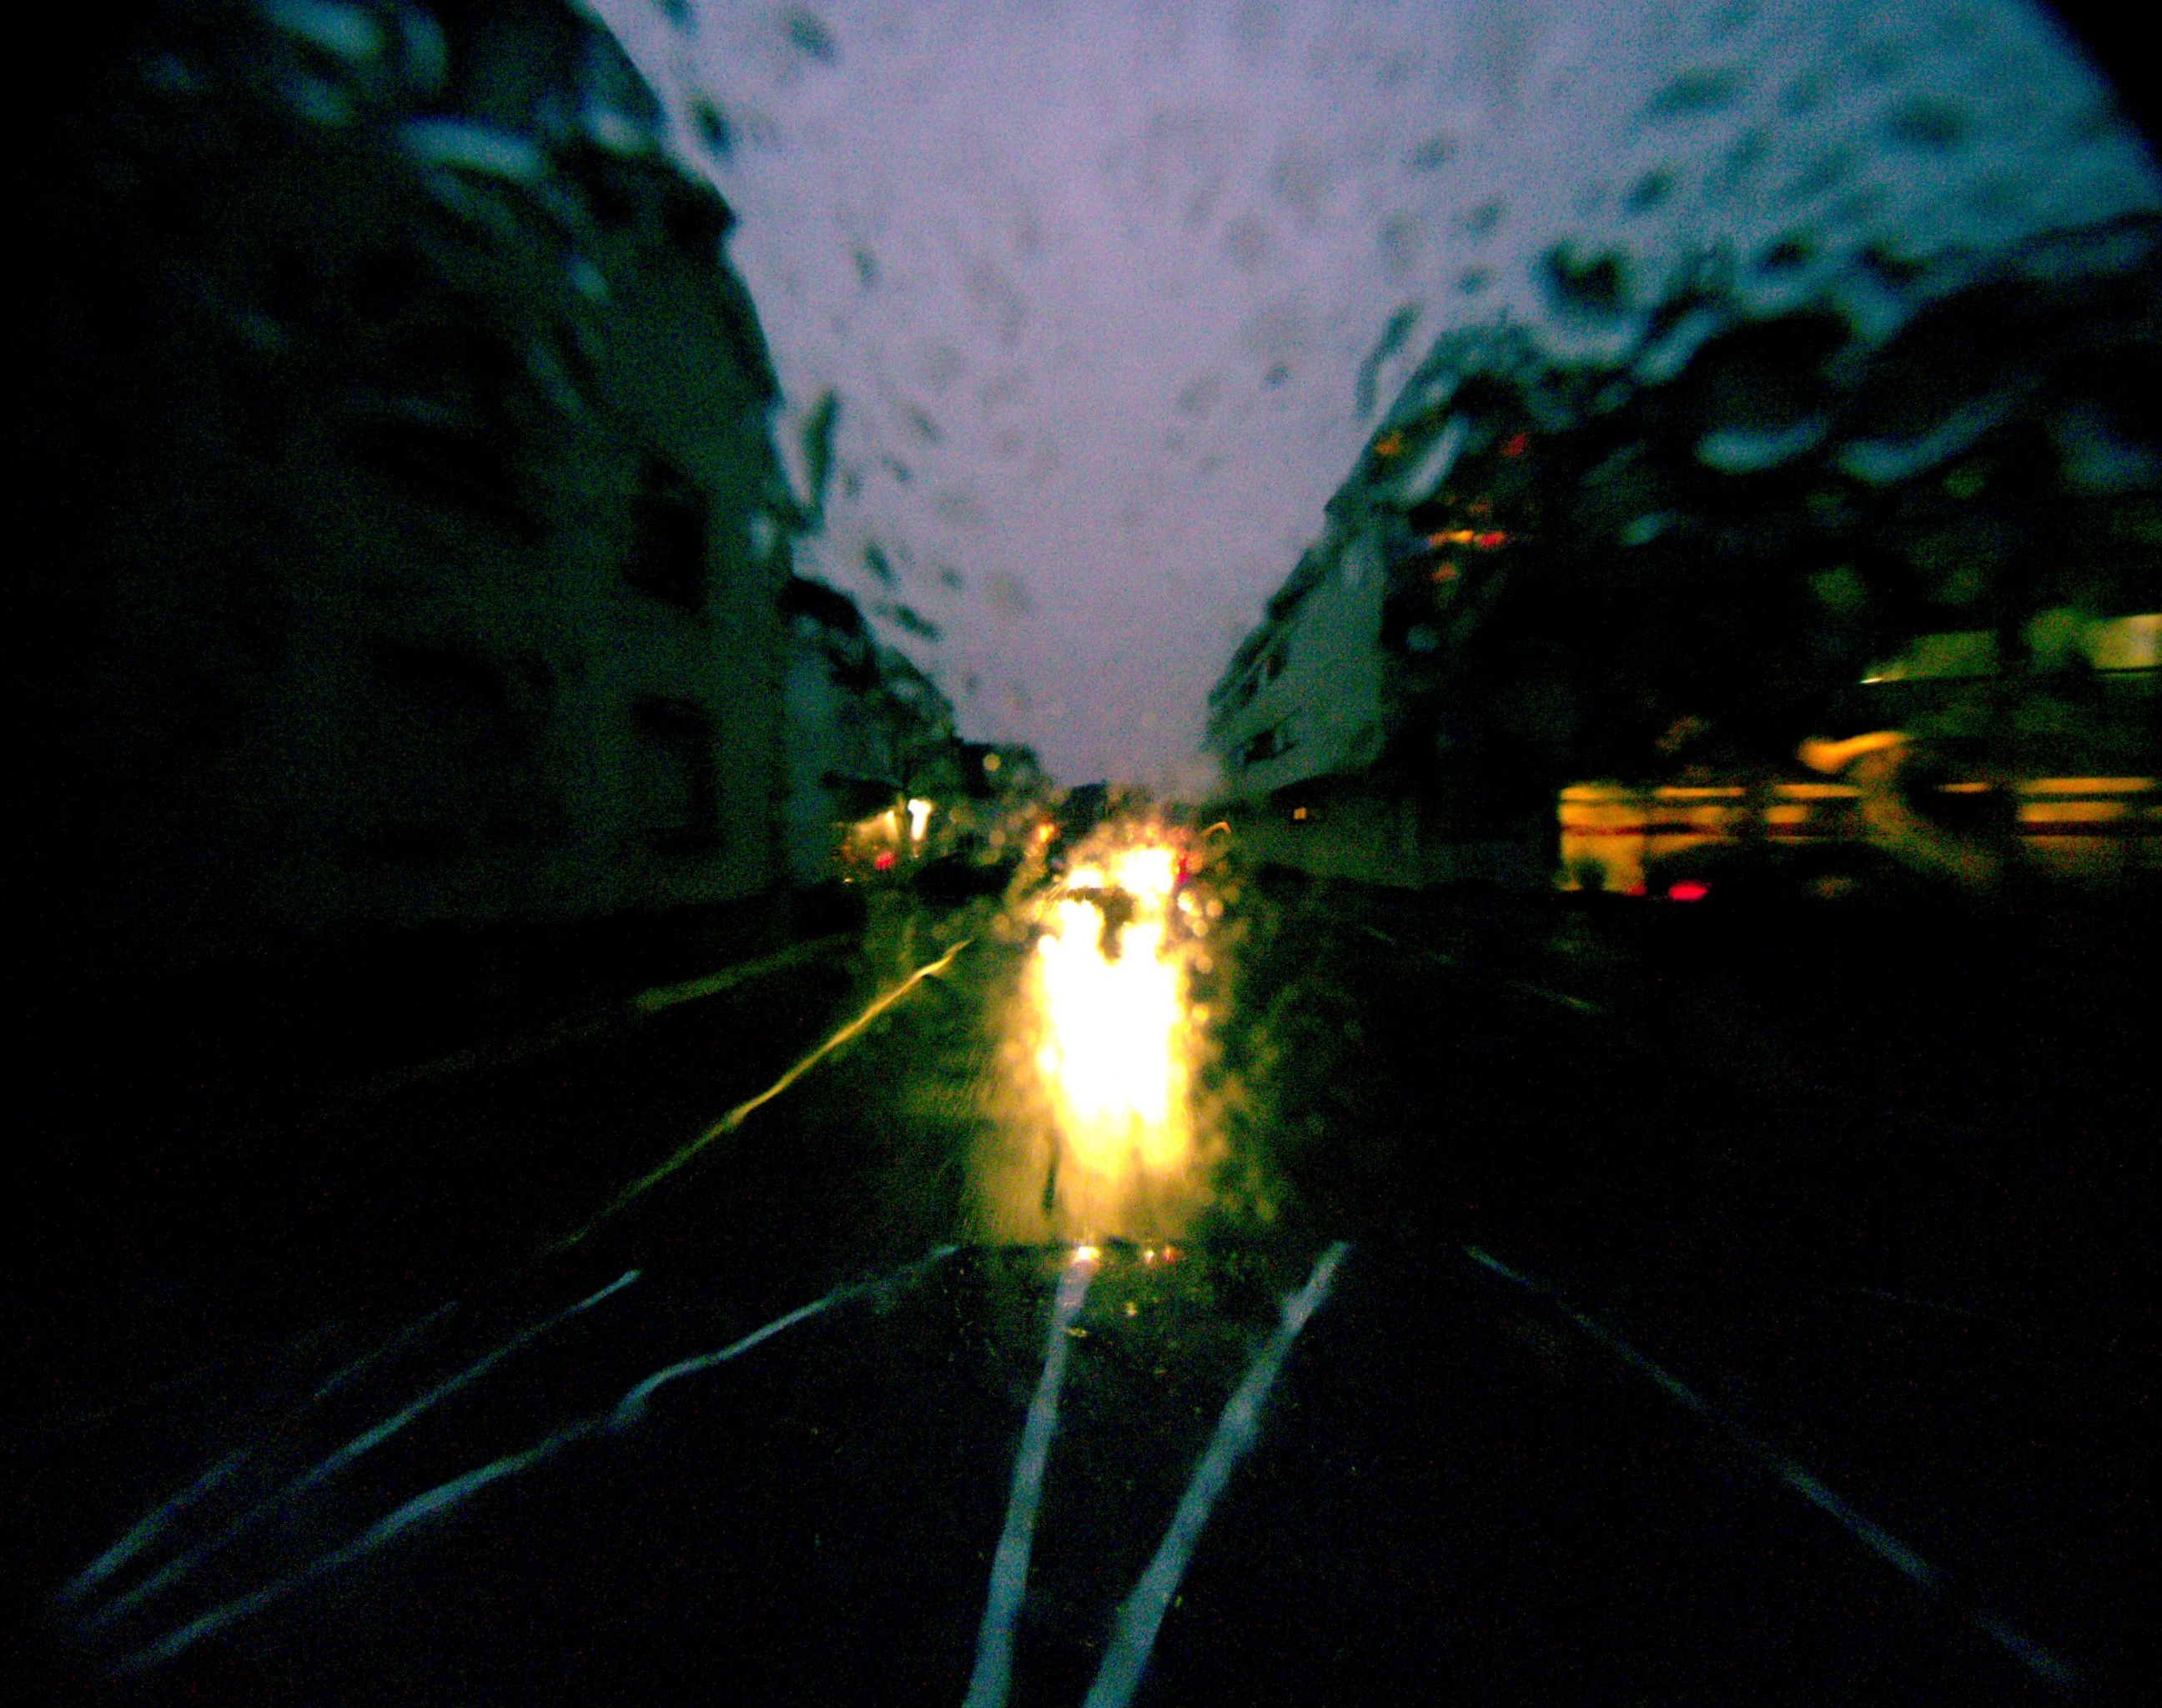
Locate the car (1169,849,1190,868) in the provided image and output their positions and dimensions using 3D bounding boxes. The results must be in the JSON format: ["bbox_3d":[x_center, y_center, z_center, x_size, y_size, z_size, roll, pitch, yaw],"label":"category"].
[{"bbox_3d":[9.206,0.421,71.115,1.892,1.670,4.002,-1,0,8],"label":"car"}]

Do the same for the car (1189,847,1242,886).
[{"bbox_3d":[5.984,0.516,34.198,1.899,1.607,3.827,-1,0,3],"label":"car"}]

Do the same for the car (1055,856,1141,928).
[{"bbox_3d":[0.496,0.837,18.302,1.730,1.475,3.605,-2,0,6],"label":"car"}]

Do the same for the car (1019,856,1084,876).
[{"bbox_3d":[-1.782,0.727,46.771,3.887,1.121,1.551,0,0,2],"label":"car"}]

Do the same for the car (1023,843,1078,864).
[{"bbox_3d":[-2.164,-0.064,55.119,3.888,1.487,1.551,0,1,0],"label":"car"}]

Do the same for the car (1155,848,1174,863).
[{"bbox_3d":[9.895,0.160,89.752,1.921,1.608,3.871,-1,0,12],"label":"car"}]

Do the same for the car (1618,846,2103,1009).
[{"bbox_3d":[7.935,0.701,8.075,3.305,1.499,1.503,-1,1,14],"label":"car"}]

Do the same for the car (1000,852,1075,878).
[{"bbox_3d":[-2.332,0.571,41.323,3.887,1.359,1.551,0,0,2],"label":"car"}]

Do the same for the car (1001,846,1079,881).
[{"bbox_3d":[-2.077,0.473,39.195,3.887,1.722,1.714,0,1,2],"label":"car"}]

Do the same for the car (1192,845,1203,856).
[{"bbox_3d":[22.835,-0.741,148.669,1.835,2.002,3.703,-1,0,14],"label":"car"}]

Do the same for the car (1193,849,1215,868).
[{"bbox_3d":[10.343,0.365,64.072,1.777,1.441,3.829,-1,0,9],"label":"car"}]

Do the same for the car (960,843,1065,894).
[{"bbox_3d":[-2.584,0.545,29.247,3.889,1.866,1.868,0,1,-3],"label":"car"}]

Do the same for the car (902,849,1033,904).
[{"bbox_3d":[-3.486,0.684,23.825,3.852,1.618,1.611,1,1,-2],"label":"car"}]

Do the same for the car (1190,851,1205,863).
[{"bbox_3d":[14.057,0.330,91.644,1.777,1.441,3.829,-1,0,10],"label":"car"}]
